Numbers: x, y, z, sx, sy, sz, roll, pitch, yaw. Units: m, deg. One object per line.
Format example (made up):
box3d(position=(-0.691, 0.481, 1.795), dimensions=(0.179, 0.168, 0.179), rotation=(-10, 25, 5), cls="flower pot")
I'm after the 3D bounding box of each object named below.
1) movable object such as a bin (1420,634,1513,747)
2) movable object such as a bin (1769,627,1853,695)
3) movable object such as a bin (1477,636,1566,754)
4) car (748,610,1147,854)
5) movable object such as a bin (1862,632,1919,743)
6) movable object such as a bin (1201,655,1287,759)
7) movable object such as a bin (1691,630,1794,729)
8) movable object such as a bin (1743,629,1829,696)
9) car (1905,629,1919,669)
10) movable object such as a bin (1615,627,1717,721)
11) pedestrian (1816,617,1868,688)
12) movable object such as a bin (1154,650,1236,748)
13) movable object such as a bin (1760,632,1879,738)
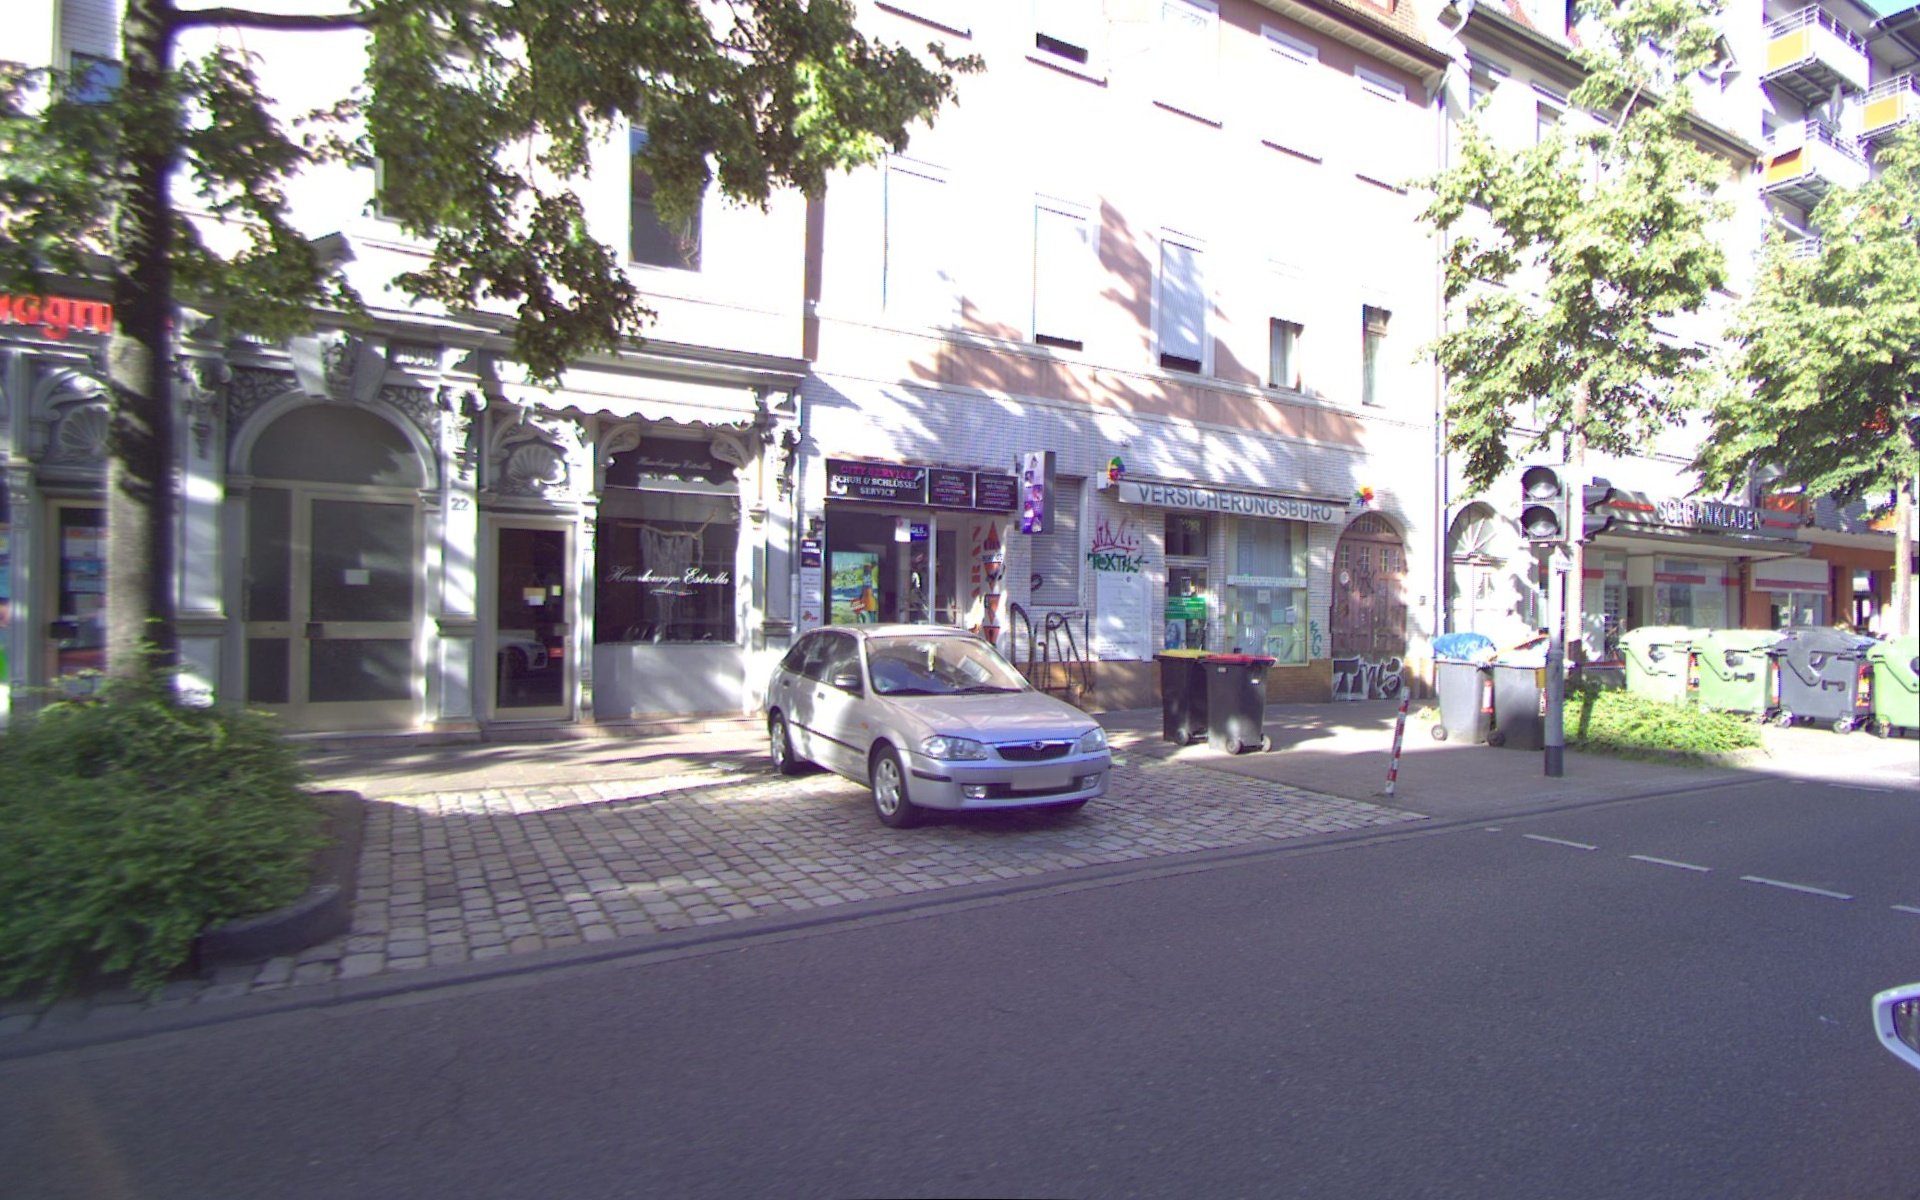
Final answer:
box3d(position=(6.397, 1.113, 12.708), dimensions=(0.796, 1.359, 0.751), rotation=(1, -1, -31), cls="movable object such as a bin")
box3d(position=(18.542, 1.300, 21.898), dimensions=(1.299, 1.422, 1.037), rotation=(1, -1, -31), cls="movable object such as a bin")
box3d(position=(6.760, 1.113, 12.102), dimensions=(0.796, 1.359, 0.631), rotation=(1, -1, -31), cls="movable object such as a bin")
box3d(position=(-0.396, 0.860, 8.576), dimensions=(1.717, 1.488, 4.187), rotation=(1, 0, -27), cls="car")
box3d(position=(13.494, 1.195, 13.983), dimensions=(1.436, 1.491, 1.037), rotation=(1, -1, -31), cls="movable object such as a bin")
box3d(position=(3.166, 1.167, 11.195), dimensions=(0.796, 1.083, 0.528), rotation=(1, -1, -31), cls="movable object such as a bin")
box3d(position=(12.343, 1.223, 15.854), dimensions=(1.130, 1.491, 0.959), rotation=(1, -1, -31), cls="movable object such as a bin")
box3d(position=(17.413, 1.291, 21.184), dimensions=(1.299, 1.363, 1.037), rotation=(1, -1, -31), cls="movable object such as a bin")
box3d(position=(38.025, 1.816, 37.102), dimensions=(1.987, 1.500, 4.440), rotation=(1, -2, -42), cls="car")
box3d(position=(11.778, 1.200, 16.763), dimensions=(1.130, 1.491, 1.037), rotation=(1, -1, -31), cls="movable object such as a bin")
box3d(position=(21.187, 1.246, 24.126), dimensions=(1.024, 1.681, 0.661), rotation=(1, -1, -31), cls="pedestrian")
box3d(position=(2.749, 1.135, 11.758), dimensions=(0.796, 1.083, 0.528), rotation=(1, -1, -31), cls="movable object such as a bin")
box3d(position=(12.740, 1.220, 14.903), dimensions=(1.130, 1.491, 1.037), rotation=(1, -1, -31), cls="movable object such as a bin")
